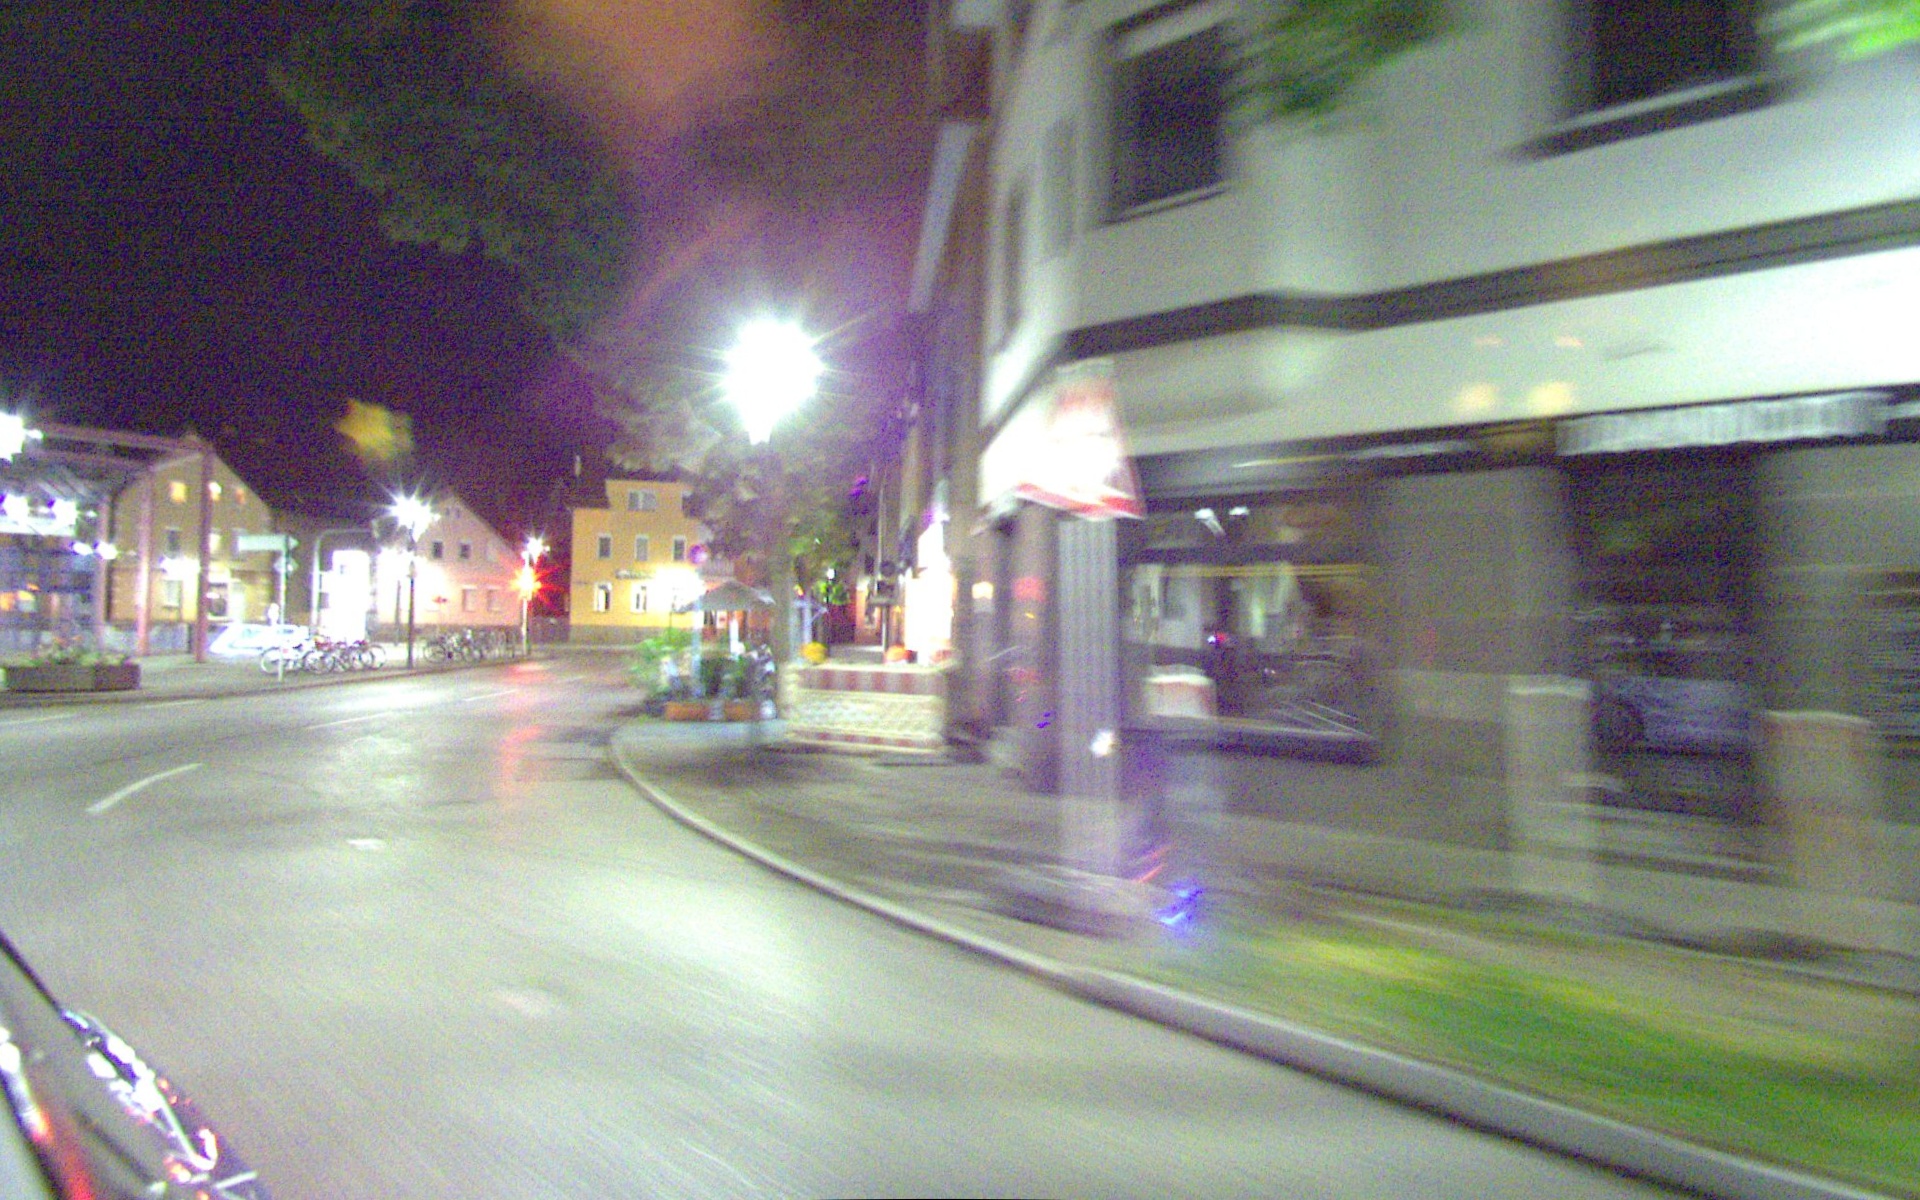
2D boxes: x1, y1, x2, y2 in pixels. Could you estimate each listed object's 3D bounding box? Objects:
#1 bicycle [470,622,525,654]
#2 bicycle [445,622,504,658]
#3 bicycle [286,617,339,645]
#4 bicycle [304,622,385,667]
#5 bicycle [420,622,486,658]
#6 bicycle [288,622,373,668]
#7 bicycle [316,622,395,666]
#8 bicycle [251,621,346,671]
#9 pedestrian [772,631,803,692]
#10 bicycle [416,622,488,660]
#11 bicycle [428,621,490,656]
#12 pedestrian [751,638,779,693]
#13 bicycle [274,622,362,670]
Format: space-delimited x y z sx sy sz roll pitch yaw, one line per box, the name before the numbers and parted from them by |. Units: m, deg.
bicycle | -16.856 1.387 36.895 1.634 1.149 0.829 1 -2 -7
bicycle | -16.166 1.326 33.707 1.633 1.143 0.643 1 -2 -7
bicycle | -27.451 1.309 42.911 0.648 1.136 1.783 0 -2 32
bicycle | -16.386 1.189 26.958 1.752 1.160 0.582 1 -2 -2
bicycle | -16.355 1.287 32.690 1.765 1.143 0.630 1 -2 -9
bicycle | -16.310 1.157 26.262 1.749 1.160 0.583 1 -2 -8
bicycle | -16.477 1.205 27.609 1.752 1.160 0.582 1 -2 -2
bicycle | -16.134 1.120 24.722 1.759 1.160 0.761 1 -2 -8
pedestrian | -3.974 1.406 23.305 0.667 1.389 0.578 1 -2 -11
bicycle | -15.787 1.279 31.466 1.841 1.143 0.726 1 -2 -9
bicycle | -17.159 1.325 34.696 1.747 1.149 0.688 1 -2 -7
pedestrian | -4.330 1.443 22.472 0.567 1.173 0.679 1 -2 -11
bicycle | -16.198 1.153 25.547 1.749 1.160 0.615 1 -2 -8
